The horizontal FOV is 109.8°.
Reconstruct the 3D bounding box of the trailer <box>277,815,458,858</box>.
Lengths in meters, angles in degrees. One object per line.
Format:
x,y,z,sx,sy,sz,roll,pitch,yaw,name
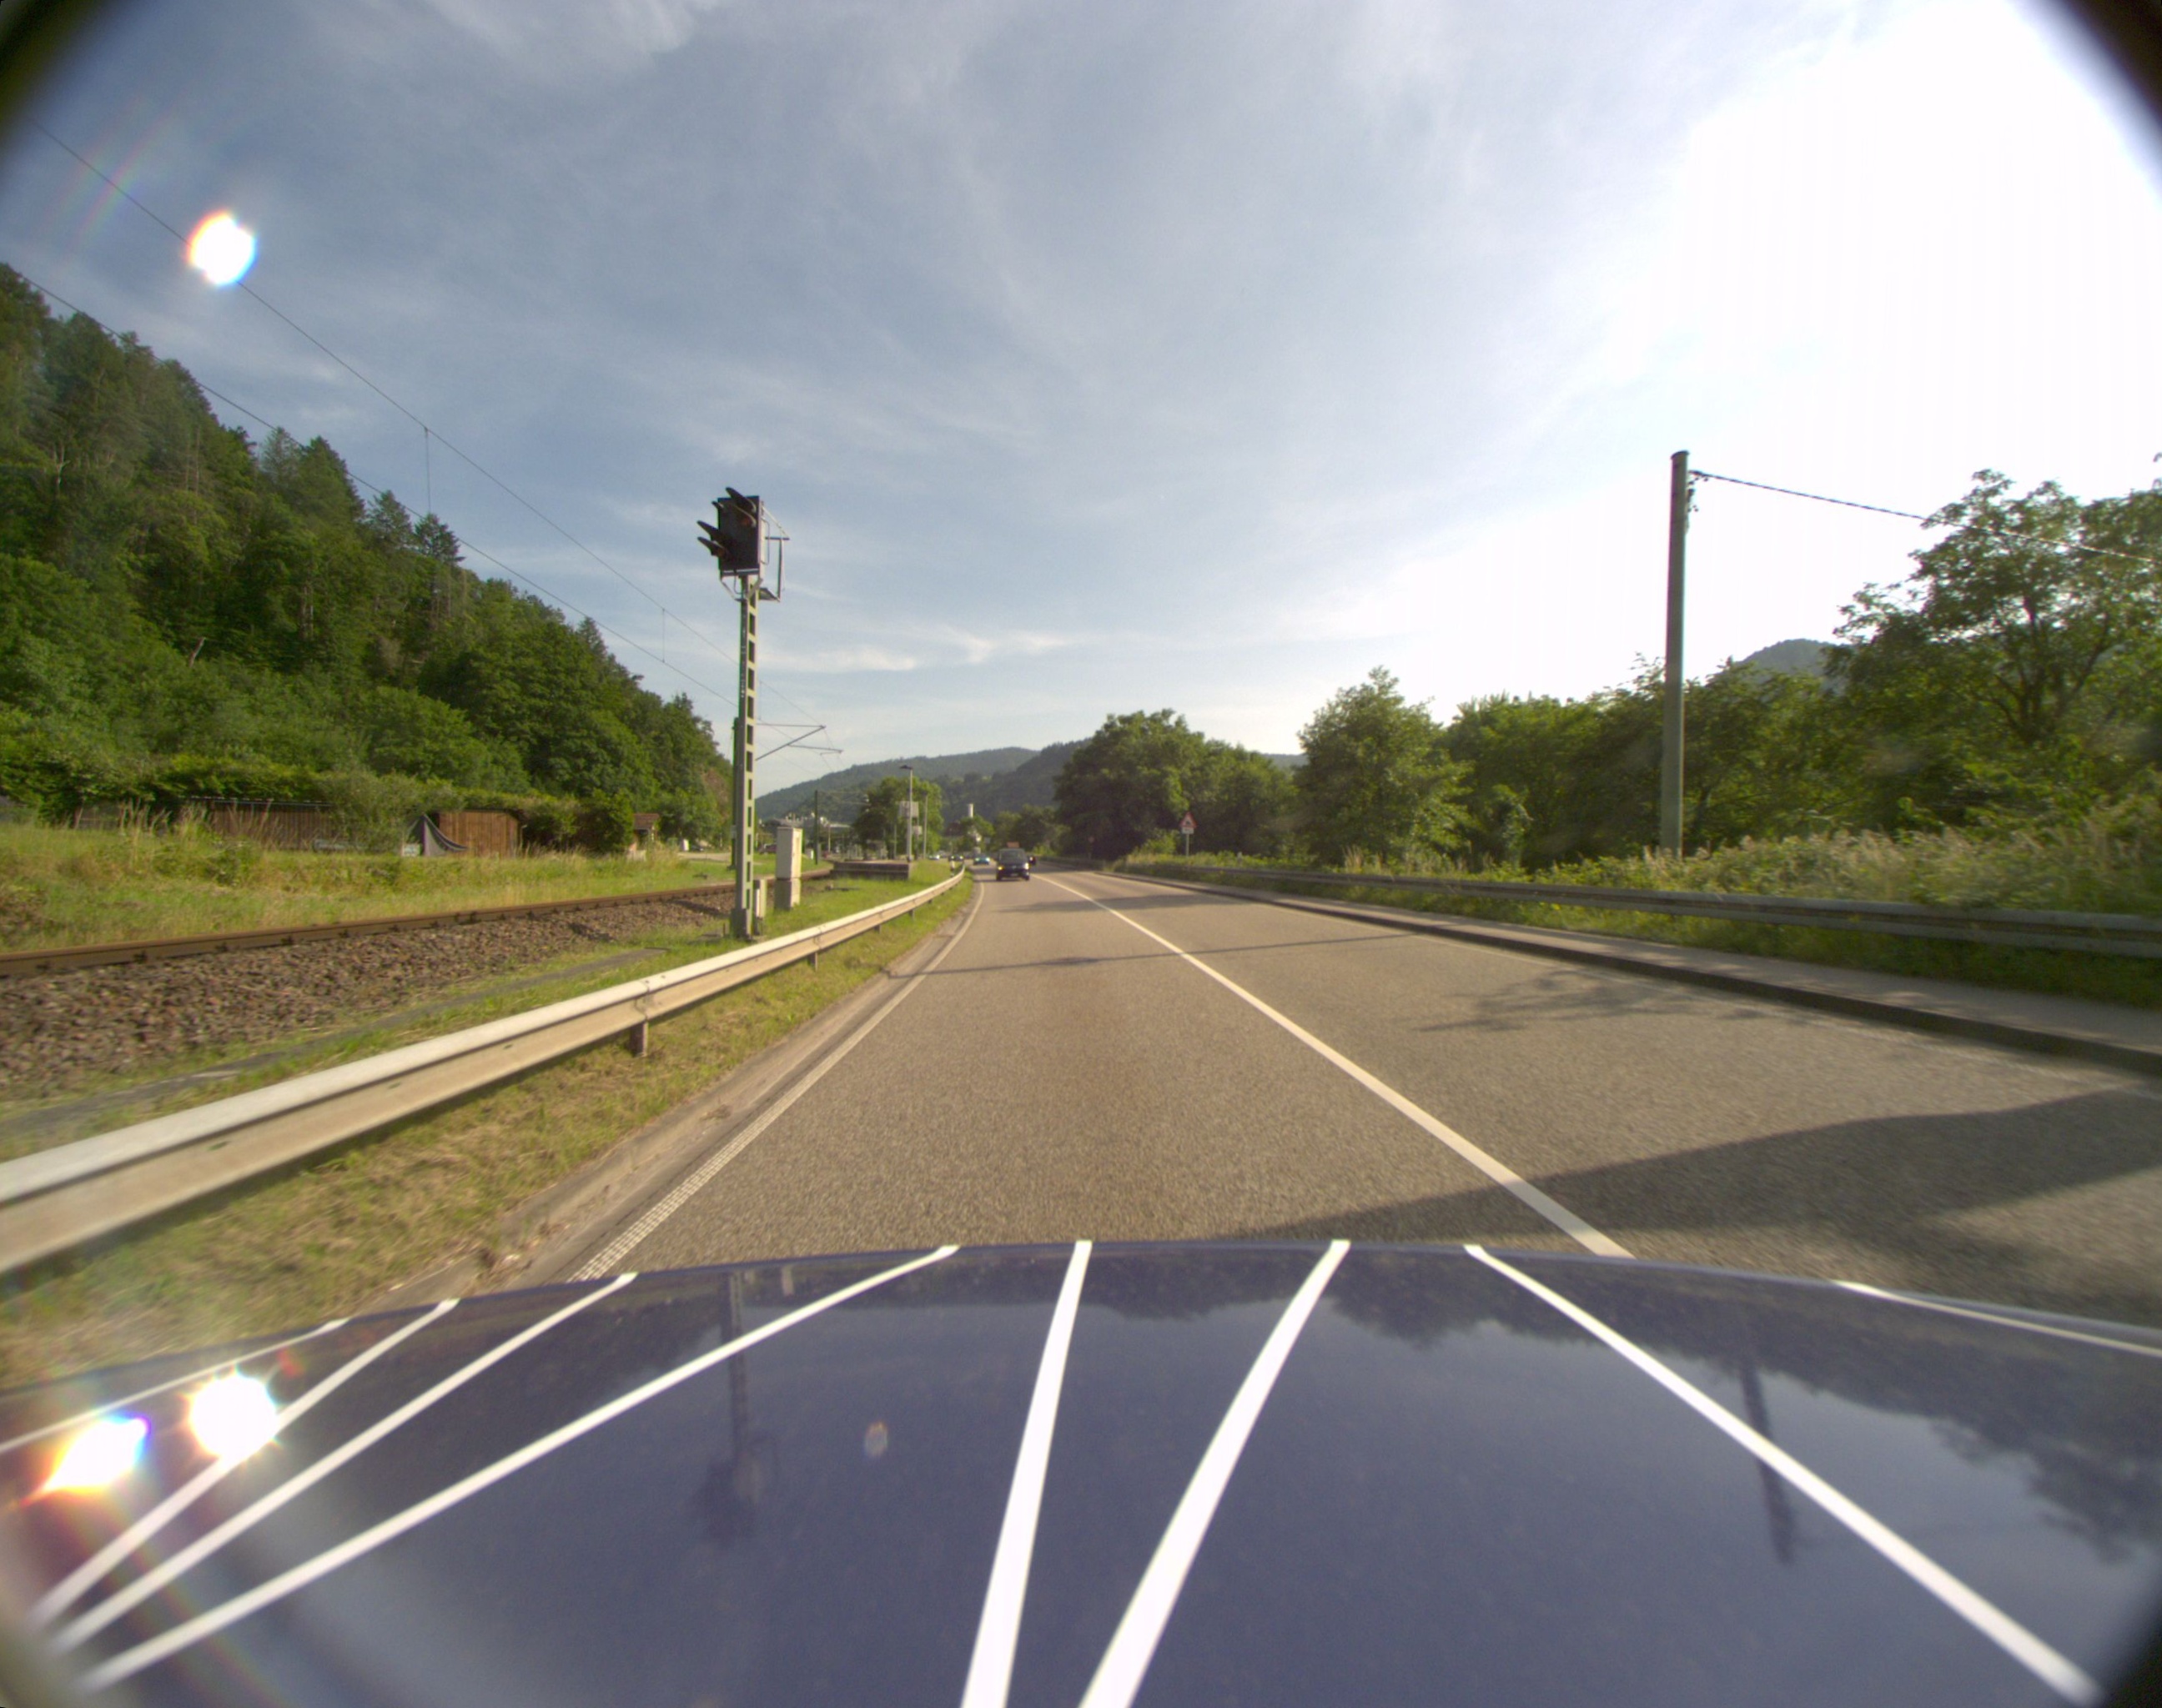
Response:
-25.461,-0.578,27.343,4.105,1.026,2.322,6,-4,-21,trailer

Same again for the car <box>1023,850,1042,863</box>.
-5.769,0.273,90.154,1.638,1.341,4.104,-4,2,-10,car

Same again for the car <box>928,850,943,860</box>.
-27.809,0.220,145.129,1.888,1.735,4.170,-2,0,-24,car

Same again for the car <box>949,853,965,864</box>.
-20.467,0.714,125.270,1.888,1.735,4.172,-1,0,-17,car

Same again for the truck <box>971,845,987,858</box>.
-19.278,-0.479,143.725,1.888,2.272,4.711,-2,0,-21,truck

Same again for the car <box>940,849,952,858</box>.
-29.837,-0.117,168.255,1.888,1.735,4.172,-2,0,-19,car

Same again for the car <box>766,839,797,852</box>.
-52.303,-1.516,132.788,4.978,2.002,1.996,-3,2,-18,car

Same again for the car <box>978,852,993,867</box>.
-12.236,0.682,97.472,1.886,1.735,4.175,-2,1,-6,car

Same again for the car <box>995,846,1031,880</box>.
-4.188,0.490,46.444,2.019,1.905,4.308,-1,2,-7,car
